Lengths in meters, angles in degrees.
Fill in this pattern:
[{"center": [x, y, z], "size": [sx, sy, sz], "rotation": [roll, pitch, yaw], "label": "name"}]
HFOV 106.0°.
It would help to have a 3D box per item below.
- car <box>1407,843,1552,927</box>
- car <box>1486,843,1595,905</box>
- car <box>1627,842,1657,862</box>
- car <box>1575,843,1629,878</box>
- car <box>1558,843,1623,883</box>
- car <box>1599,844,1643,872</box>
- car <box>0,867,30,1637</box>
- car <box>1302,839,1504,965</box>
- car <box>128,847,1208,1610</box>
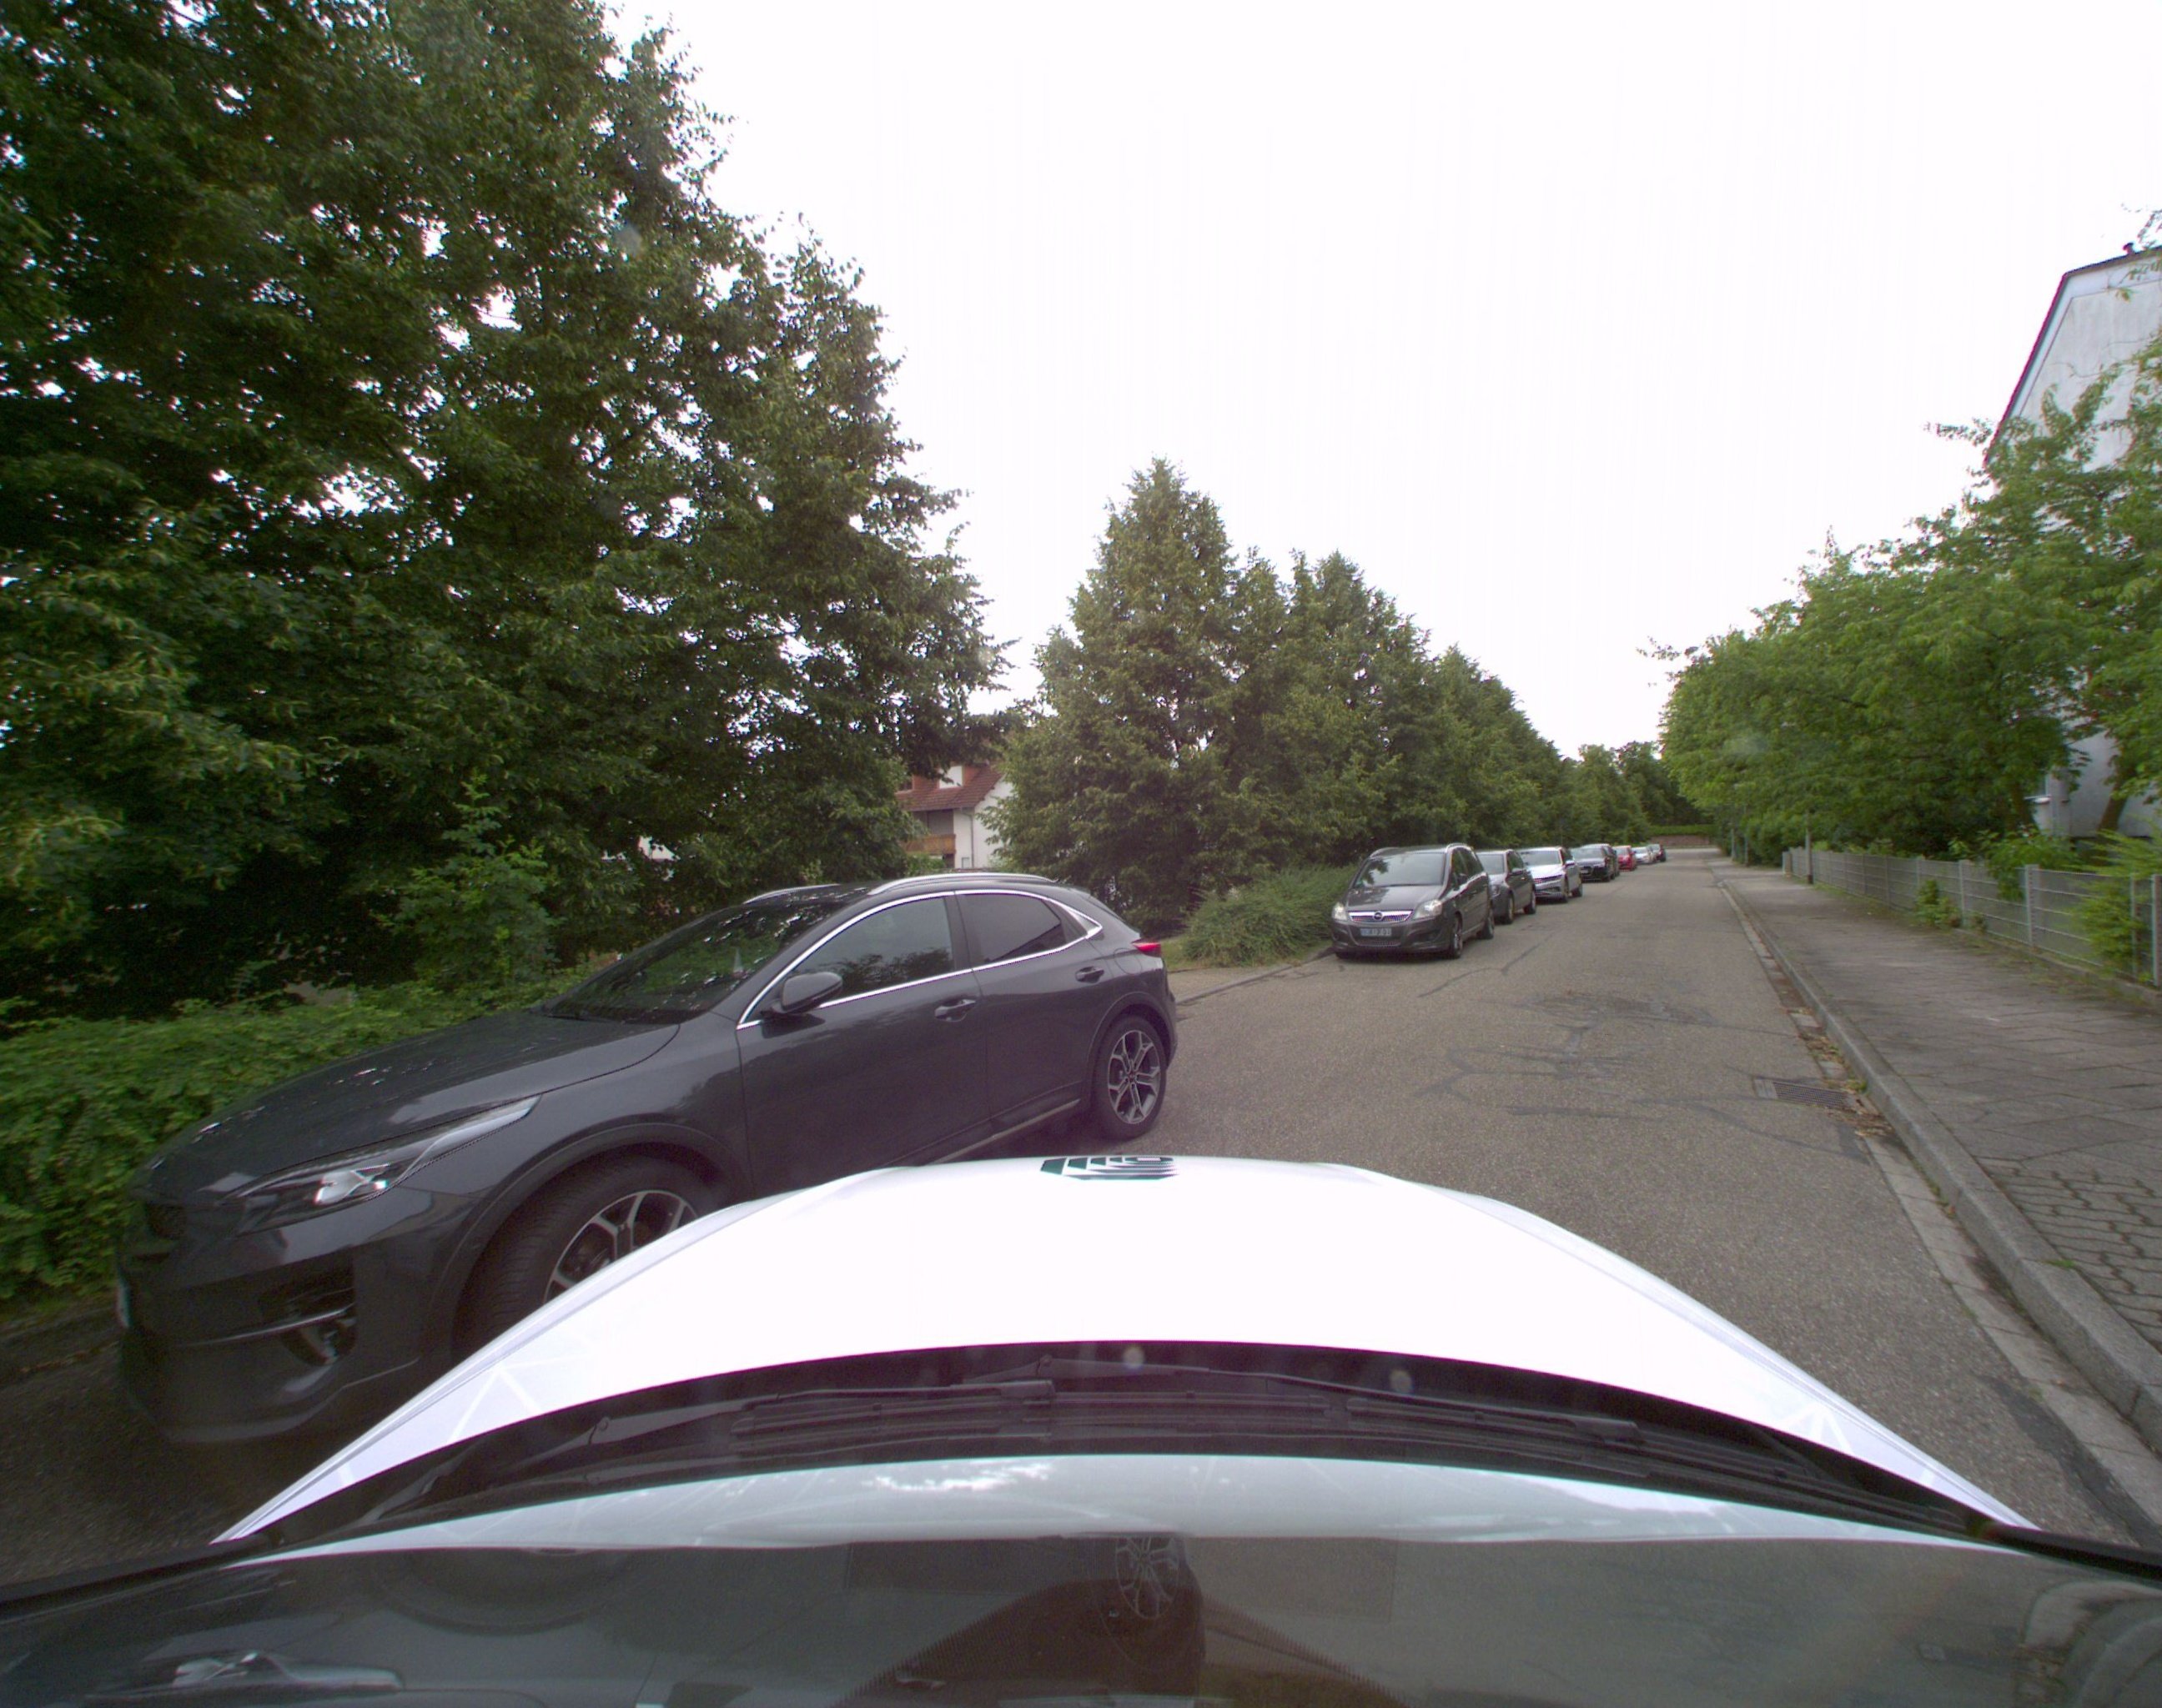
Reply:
[{"center": [8.532, 0.594, 17.246], "size": [1.740, 1.478, 4.333], "rotation": [-5, -2, 39], "label": "car"}, {"center": [12.505, 0.494, 22.003], "size": [1.759, 1.428, 4.507], "rotation": [-5, -2, 39], "label": "car"}, {"center": [45.446, -0.208, 65.927], "size": [1.735, 1.519, 4.026], "rotation": [-2, 0, 38], "label": "car"}, {"center": [24.633, 0.284, 38.454], "size": [1.734, 1.425, 4.026], "rotation": [-5, -2, 38], "label": "car"}, {"center": [20.510, 0.333, 32.732], "size": [1.734, 1.425, 4.026], "rotation": [-5, -2, 38], "label": "car"}, {"center": [31.662, 0.222, 47.716], "size": [1.734, 1.425, 4.026], "rotation": [-5, -2, 38], "label": "car"}, {"center": [-4.069, 0.872, 0.362], "size": [1.724, 1.531, 4.278], "rotation": [-4, -2, 33], "label": "car"}, {"center": [5.221, 0.640, 12.785], "size": [1.740, 1.593, 4.582], "rotation": [-5, -2, 36], "label": "car"}, {"center": [-1.249, 0.813, 3.895], "size": [1.724, 1.531, 4.222], "rotation": [-5, -2, 38], "label": "car"}]
